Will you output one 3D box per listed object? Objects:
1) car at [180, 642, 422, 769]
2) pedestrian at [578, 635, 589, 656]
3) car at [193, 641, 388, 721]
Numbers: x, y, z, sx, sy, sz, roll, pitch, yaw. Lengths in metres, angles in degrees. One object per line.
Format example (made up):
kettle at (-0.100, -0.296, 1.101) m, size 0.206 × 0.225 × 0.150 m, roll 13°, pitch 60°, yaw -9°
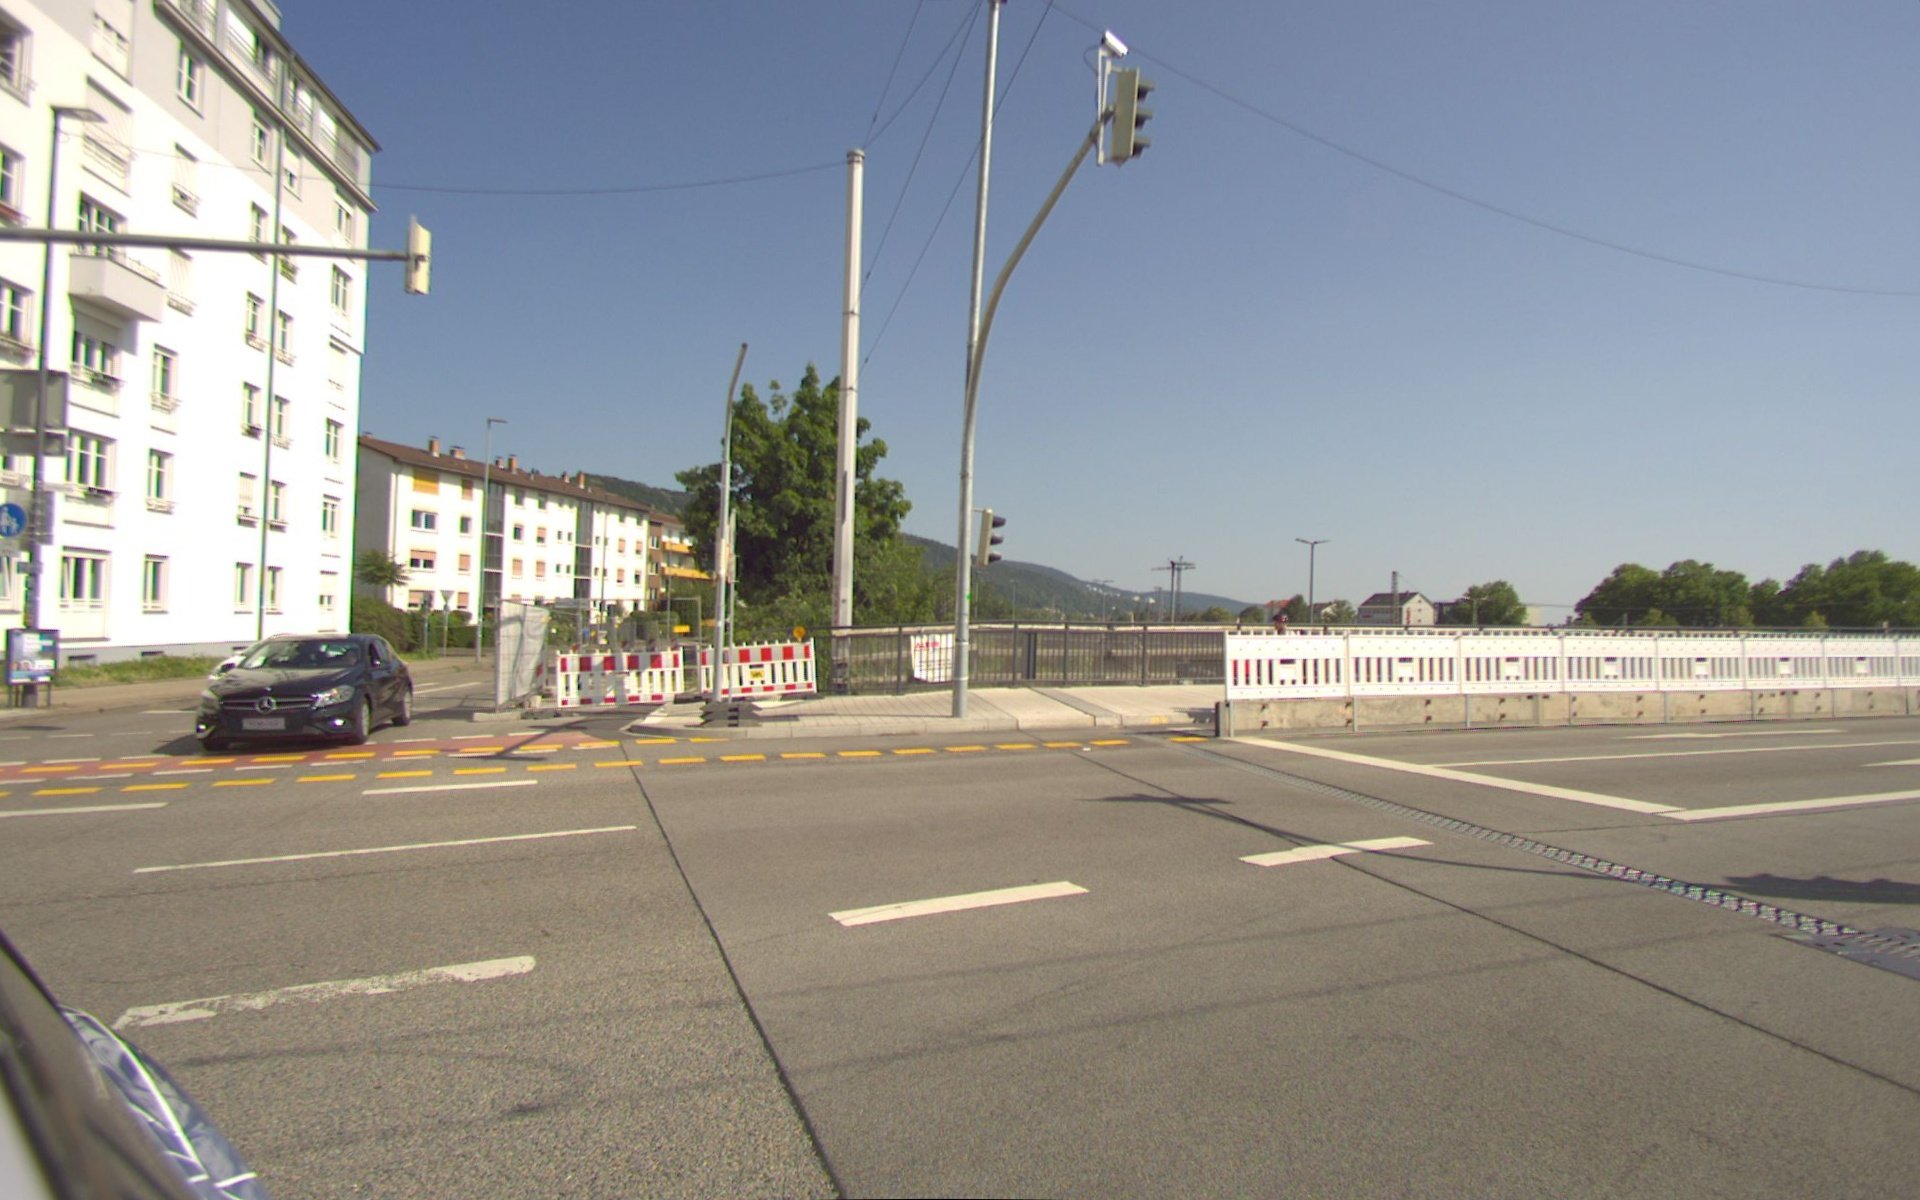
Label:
car at (-8.848, 1.305, 14.038) m, size 1.674 × 1.419 × 4.637 m, roll 0°, pitch -2°, yaw -18°
pedestrian at (-27.897, 3.350, 75.046) m, size 0.599 × 1.520 × 0.772 m, roll 1°, pitch -1°, yaw -6°
car at (-13.404, 1.566, 20.599) m, size 1.674 × 1.423 × 4.496 m, roll 1°, pitch -2°, yaw -11°
